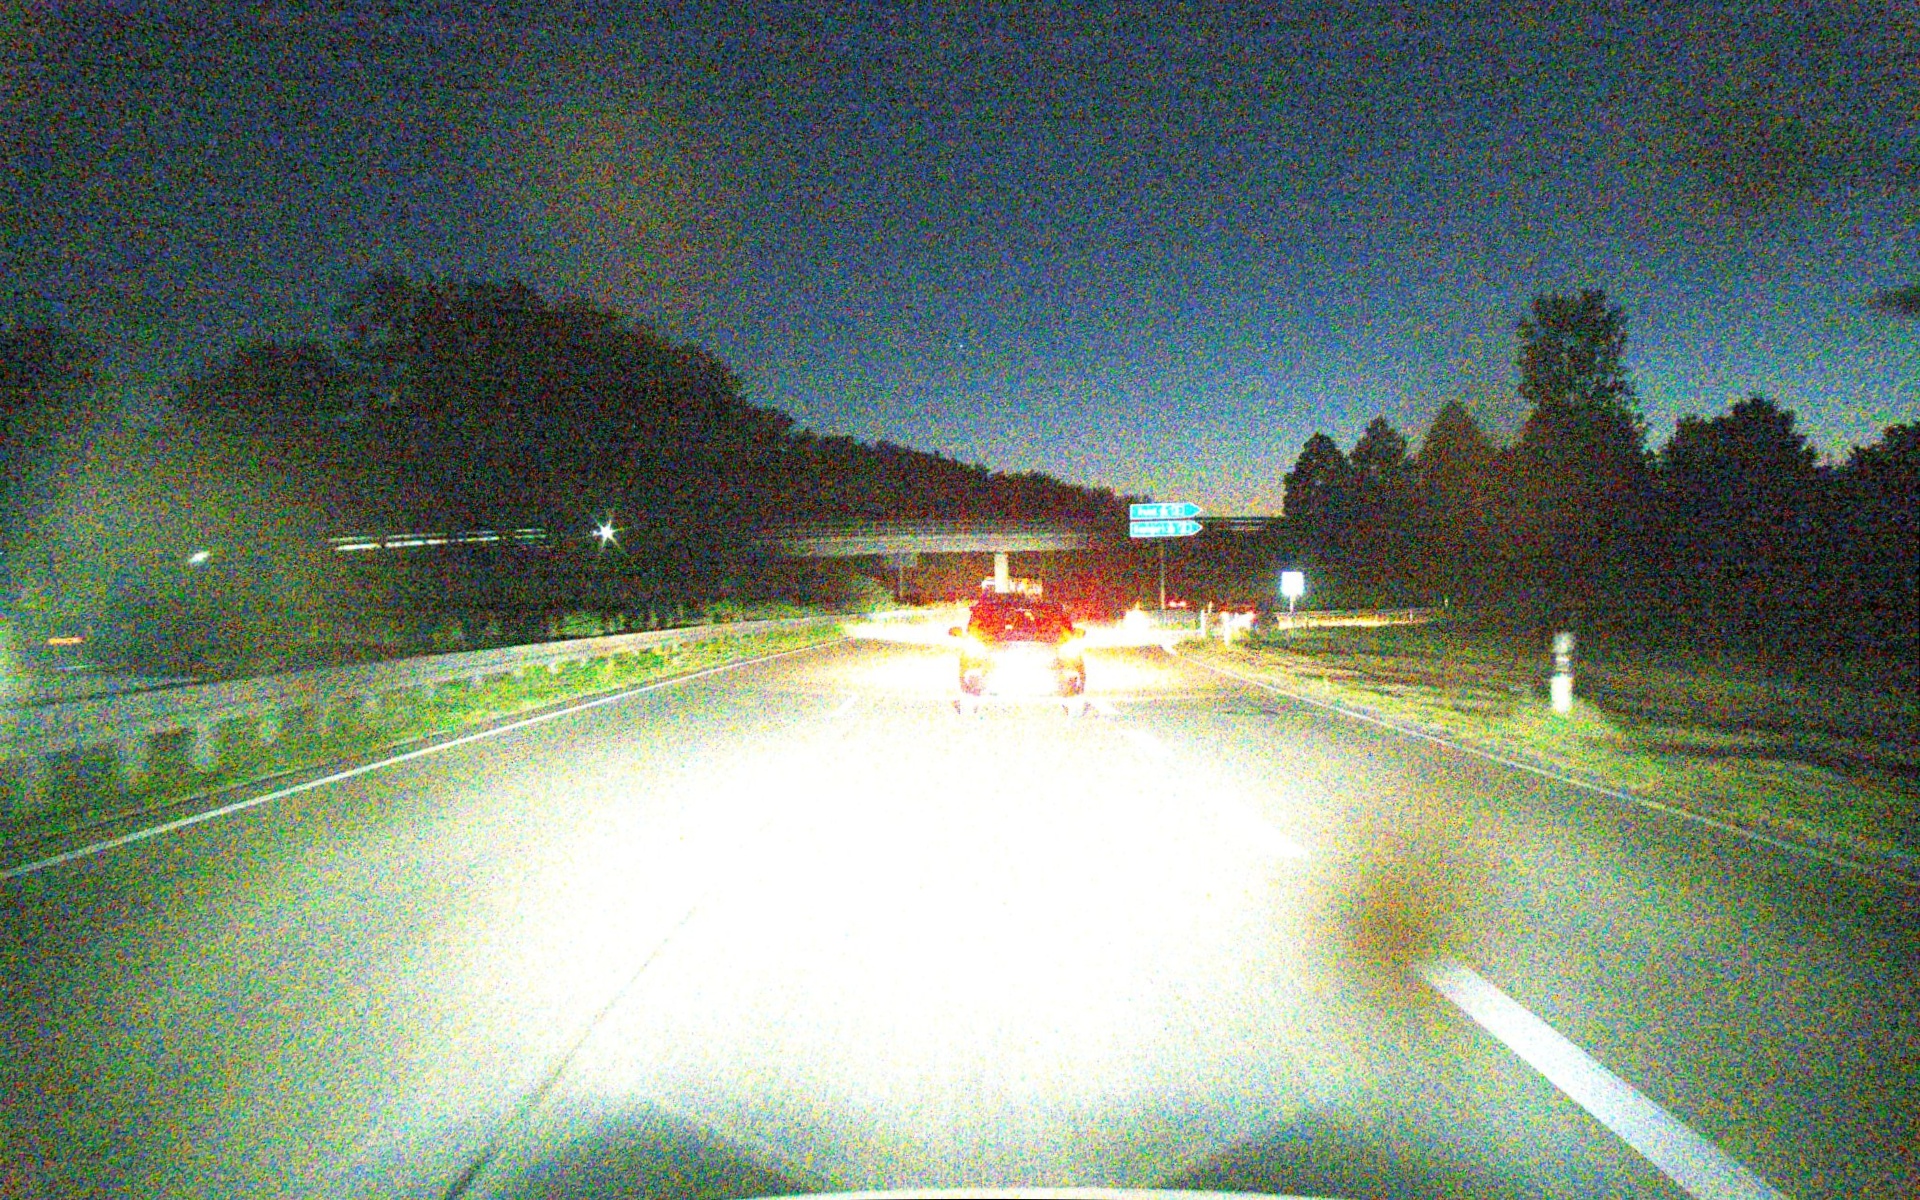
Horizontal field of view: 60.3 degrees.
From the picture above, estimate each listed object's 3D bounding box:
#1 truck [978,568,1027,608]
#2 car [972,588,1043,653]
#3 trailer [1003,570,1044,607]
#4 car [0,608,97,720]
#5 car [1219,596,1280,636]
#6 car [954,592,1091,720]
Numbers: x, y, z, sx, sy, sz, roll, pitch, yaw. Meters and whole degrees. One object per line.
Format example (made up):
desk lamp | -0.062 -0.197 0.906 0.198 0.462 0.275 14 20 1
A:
truck | 4.619 -1.251 177.185 2.624 4.115 10.661 -1 0 15
car | 1.316 0.546 46.110 1.867 1.728 4.001 0 0 1
trailer | 7.226 -1.332 186.673 2.659 4.026 9.054 -1 0 15
car | -14.848 0.944 24.383 1.952 1.584 4.295 0 0 1
car | 13.873 0.731 79.198 1.893 1.847 4.262 0 0 24
car | 0.753 0.672 22.136 1.556 1.534 3.999 1 0 -2
